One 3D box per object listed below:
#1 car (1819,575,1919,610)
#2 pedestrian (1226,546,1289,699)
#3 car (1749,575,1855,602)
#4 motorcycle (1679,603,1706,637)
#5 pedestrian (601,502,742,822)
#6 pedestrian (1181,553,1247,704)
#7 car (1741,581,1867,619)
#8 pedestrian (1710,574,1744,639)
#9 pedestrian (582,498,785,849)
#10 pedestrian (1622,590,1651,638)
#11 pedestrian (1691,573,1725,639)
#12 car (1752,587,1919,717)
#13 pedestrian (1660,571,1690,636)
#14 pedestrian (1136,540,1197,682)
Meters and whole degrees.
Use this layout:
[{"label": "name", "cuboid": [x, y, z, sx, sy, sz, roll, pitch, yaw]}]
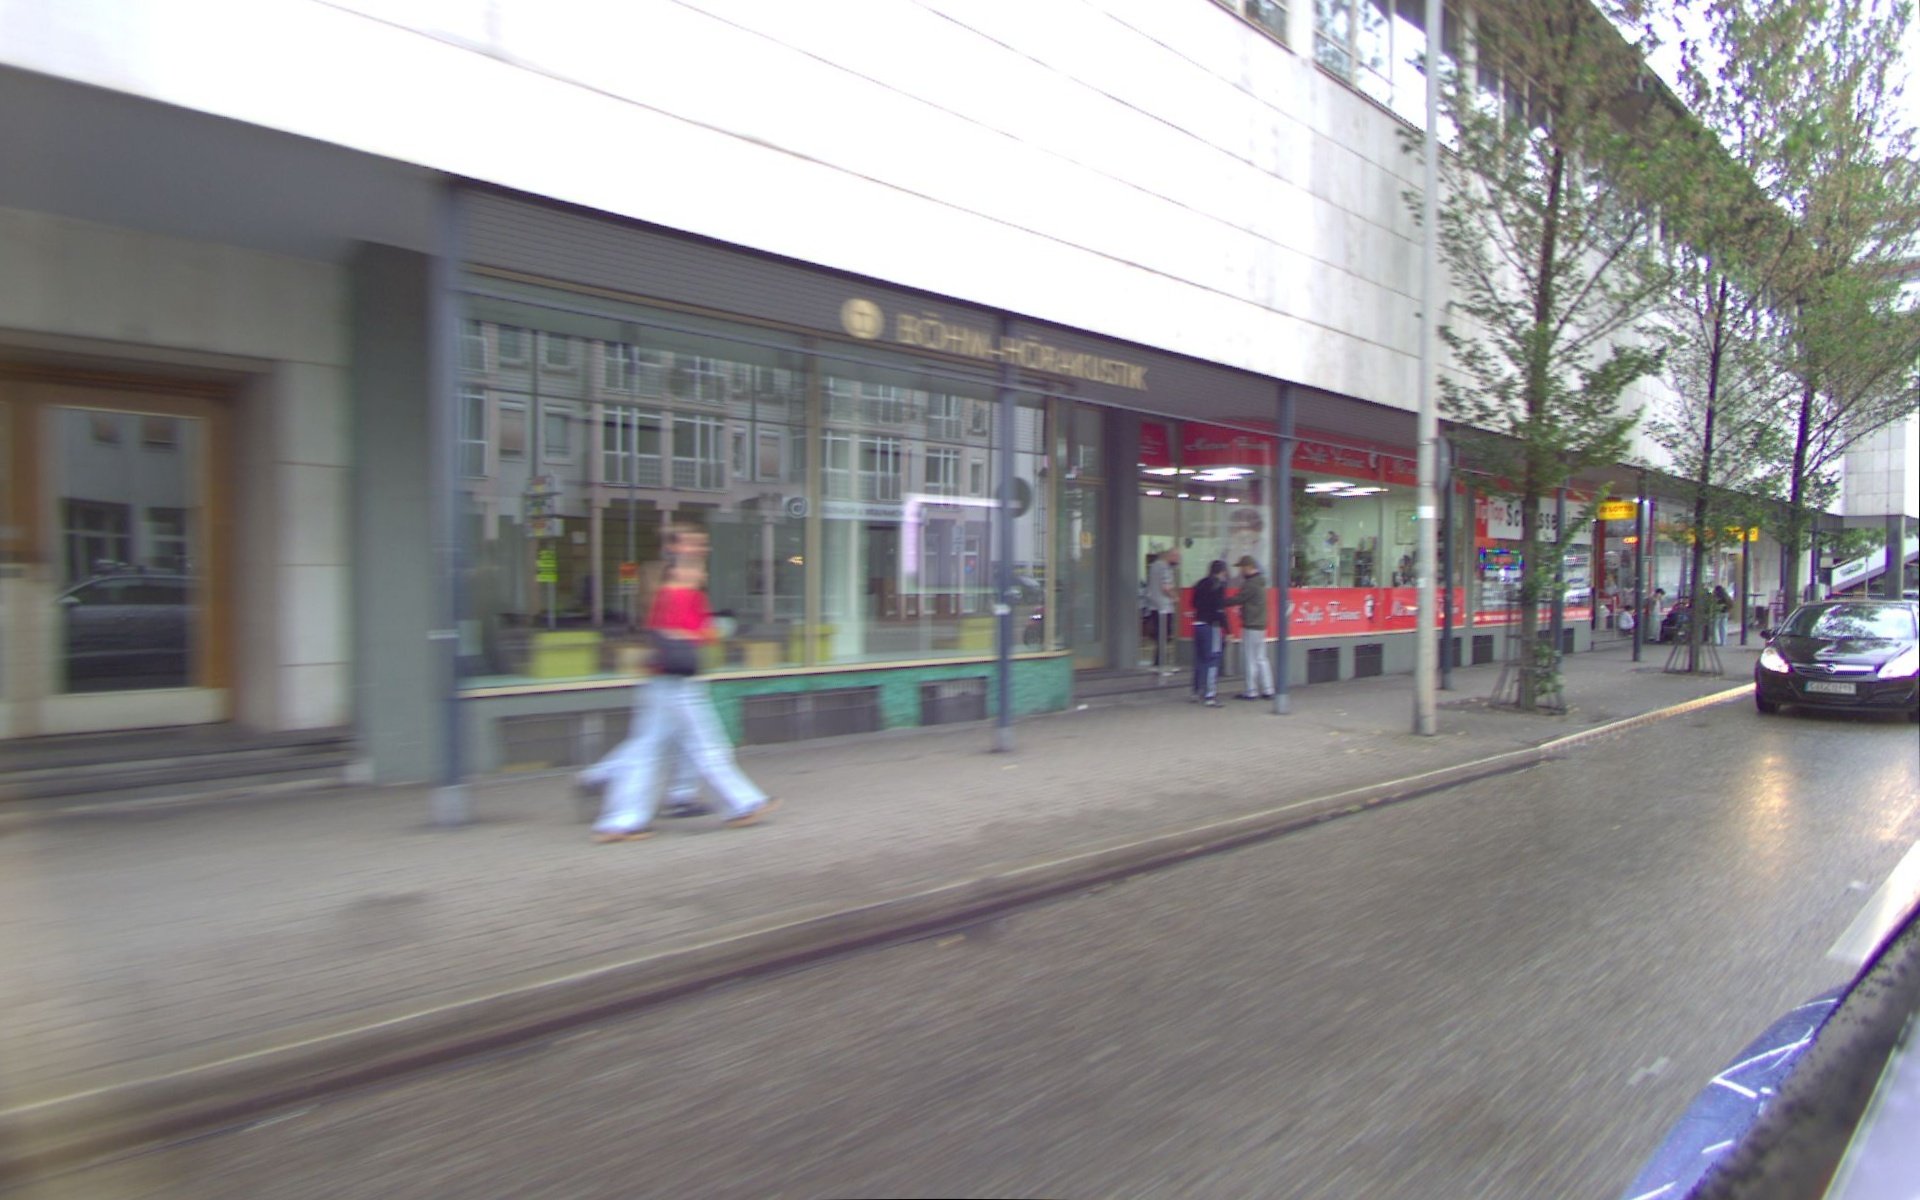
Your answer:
[{"label": "car", "cuboid": [42.697, -0.375, 46.914, 1.959, 1.495, 4.006, -2, 1, -9]}, {"label": "pedestrian", "cuboid": [3.700, 0.265, 12.595, 0.524, 1.842, 0.538, 0, 1, -31]}, {"label": "car", "cuboid": [46.527, -0.671, 55.979, 1.756, 1.437, 4.268, -1, 2, -40]}, {"label": "motorcycle", "cuboid": [18.050, 0.486, 24.930, 0.904, 0.814, 0.325, 0, 1, -40]}, {"label": "pedestrian", "cuboid": [-1.778, 0.340, 6.222, 0.596, 1.824, 0.699, -1, 2, -40]}, {"label": "pedestrian", "cuboid": [3.010, 0.320, 12.000, 0.524, 1.740, 0.538, 0, 1, -31]}, {"label": "car", "cuboid": [42.558, -0.055, 51.154, 1.822, 1.781, 4.608, -3, 3, -36]}, {"label": "pedestrian", "cuboid": [18.828, 0.151, 24.847, 0.501, 1.586, 0.429, 1, 1, 8]}, {"label": "pedestrian", "cuboid": [-1.555, 0.358, 5.701, 0.906, 1.789, 0.655, -1, 2, -40]}, {"label": "pedestrian", "cuboid": [16.555, 0.342, 24.780, 0.424, 1.150, 0.507, 1, 1, 15]}, {"label": "pedestrian", "cuboid": [18.317, 0.135, 24.786, 0.501, 1.586, 0.430, 1, 1, 6]}, {"label": "car", "cuboid": [11.987, 0.587, 13.305, 3.675, 1.475, 1.712, 0, 1, -39]}, {"label": "pedestrian", "cuboid": [17.616, 0.073, 24.939, 0.500, 1.586, 0.430, 0, 1, -36]}, {"label": "pedestrian", "cuboid": [2.610, 0.125, 12.795, 0.524, 1.740, 0.539, 0, 1, -30]}]
